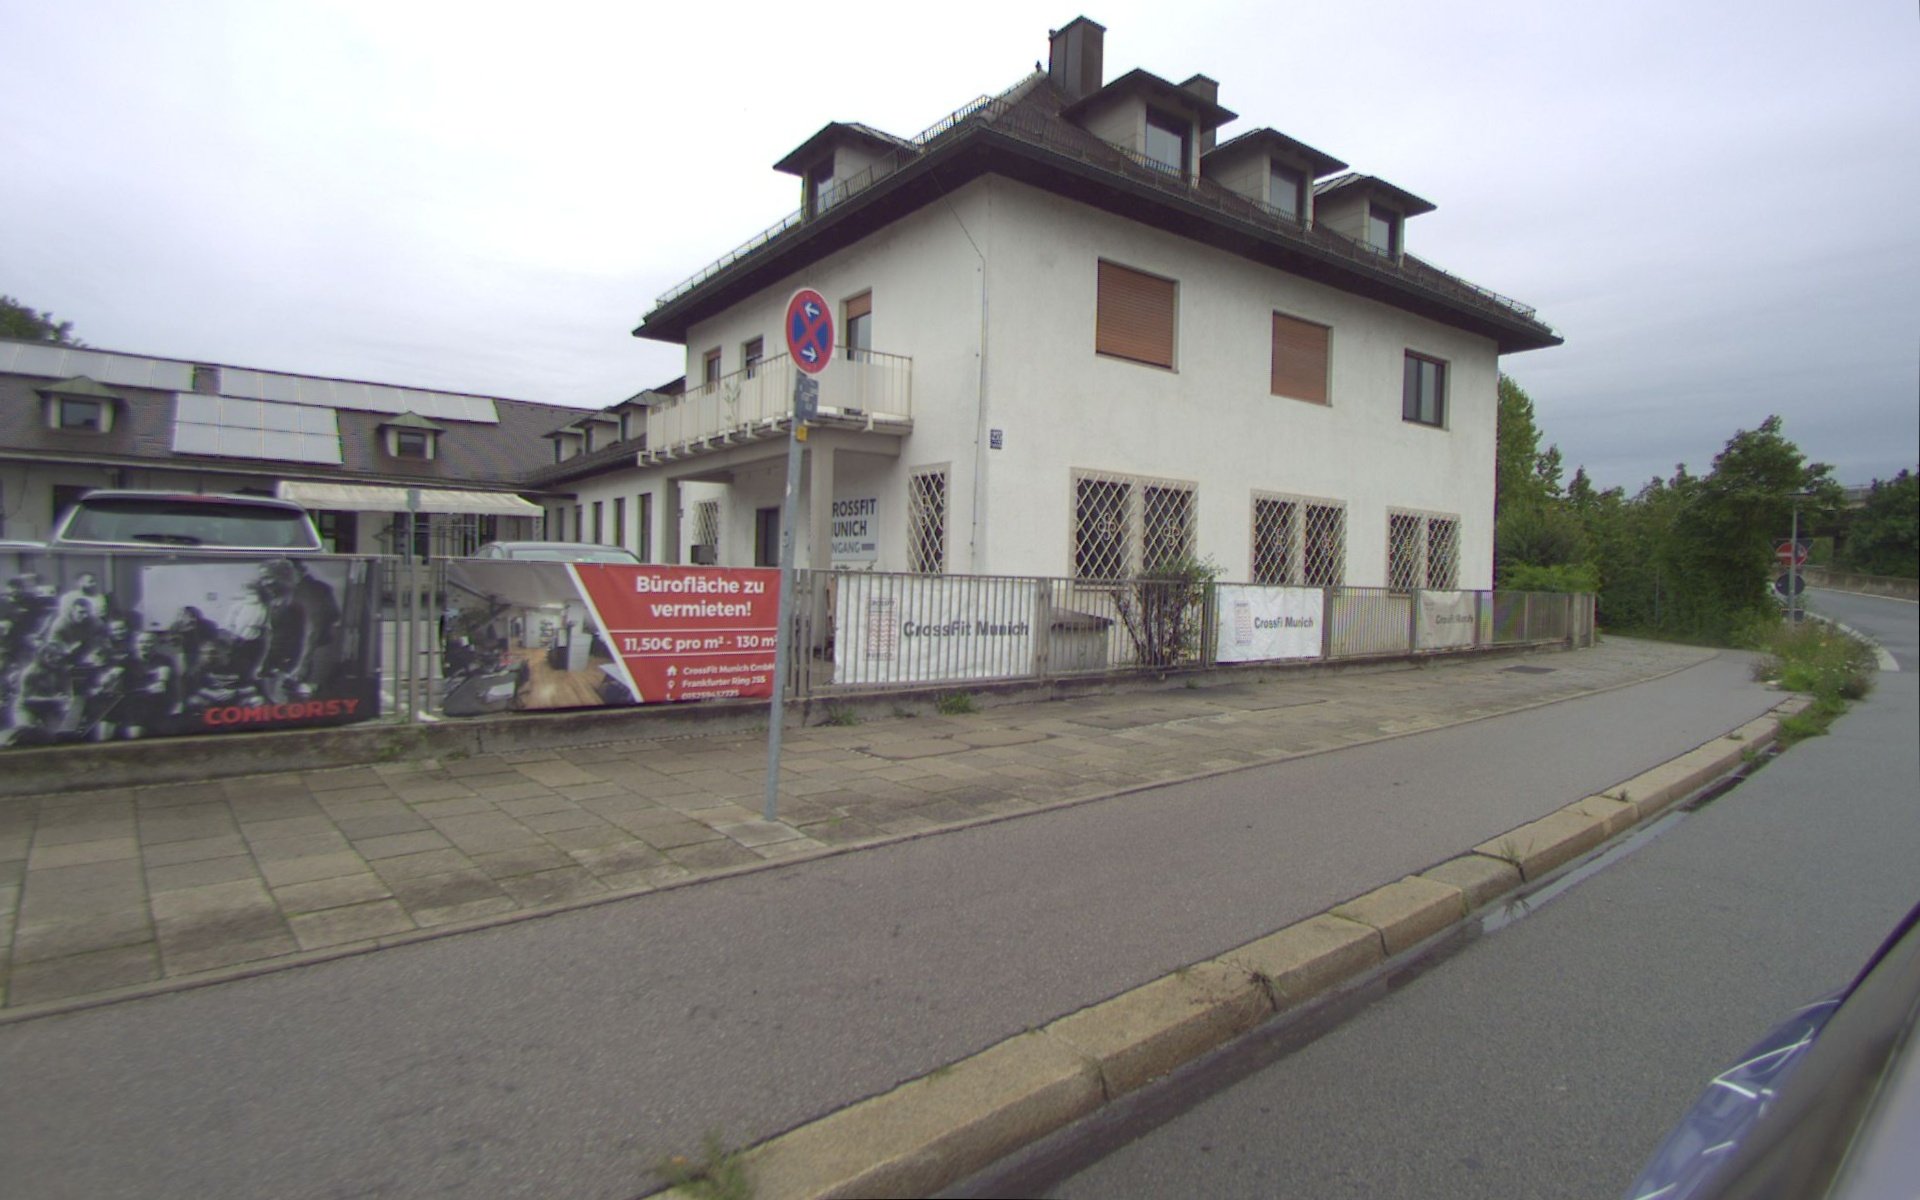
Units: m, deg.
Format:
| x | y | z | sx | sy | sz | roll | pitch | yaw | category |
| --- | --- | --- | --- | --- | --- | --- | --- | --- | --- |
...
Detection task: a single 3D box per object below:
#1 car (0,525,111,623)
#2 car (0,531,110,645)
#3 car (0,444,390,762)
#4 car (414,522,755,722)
| x | y | z | sx | sy | sz | roll | pitch | yaw | category |
| --- | --- | --- | --- | --- | --- | --- | --- | --- | --- |
| -16.347 | -0.432 | 15.867 | 4.451 | 1.531 | 1.928 | 0 | 1 | -34 | car |
| -14.330 | -0.195 | 13.697 | 4.027 | 1.512 | 1.929 | 0 | 1 | -30 | car |
| -5.796 | -0.040 | 7.759 | 1.892 | 1.747 | 4.107 | 0 | 1 | -38 | car |
| -3.750 | 0.103 | 9.623 | 1.892 | 1.468 | 4.107 | 0 | 1 | -38 | car |
